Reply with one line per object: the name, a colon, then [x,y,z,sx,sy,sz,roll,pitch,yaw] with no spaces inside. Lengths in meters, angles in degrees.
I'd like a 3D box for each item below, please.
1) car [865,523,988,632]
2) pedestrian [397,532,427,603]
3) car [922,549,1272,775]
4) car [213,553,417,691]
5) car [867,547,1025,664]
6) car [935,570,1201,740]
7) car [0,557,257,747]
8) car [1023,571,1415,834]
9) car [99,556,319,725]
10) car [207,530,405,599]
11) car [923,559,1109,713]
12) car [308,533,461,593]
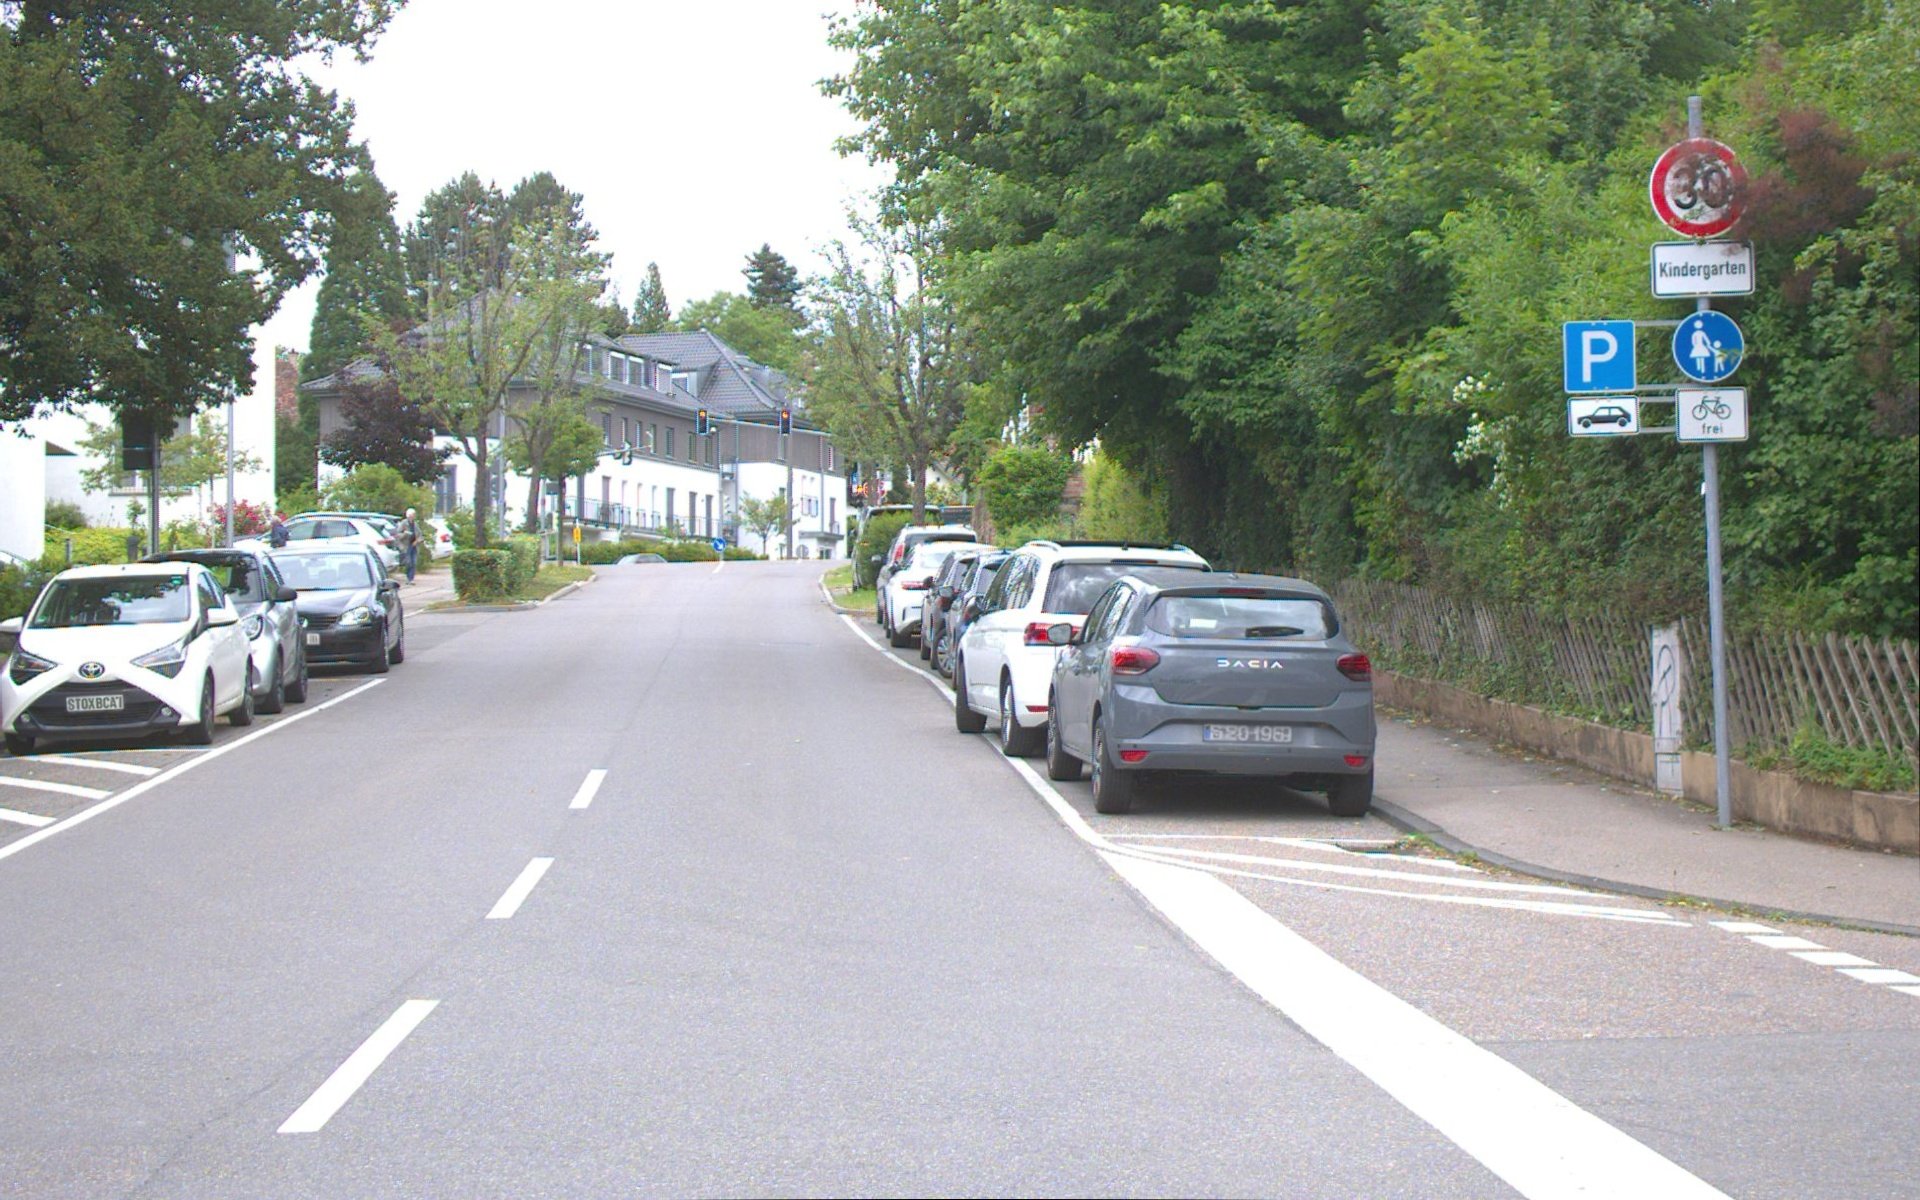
car: [-0.558,-0.378,54.370,1.716,1.627,3.929,2,1,-3]
pedestrian: [-12.815,-0.759,80.421,0.593,1.635,0.565,-1,1,-2]
car: [1.003,0.423,27.957,2.000,1.603,4.760,-1,1,-8]
car: [-7.503,0.213,40.375,1.850,1.464,4.684,-1,1,-5]
car: [-0.253,0.040,48.346,1.993,1.486,5.005,-1,1,-3]
car: [0.943,0.463,32.635,1.809,1.447,4.380,-1,1,-8]
car: [-6.907,0.380,28.323,1.744,1.443,3.514,-1,1,-4]
car: [1.614,0.600,23.040,1.937,1.486,4.457,-1,1,-4]
car: [-7.052,0.344,32.507,1.624,1.513,2.976,0,1,-4]
car: [-15.465,-0.857,81.477,4.386,1.561,2.067,-1,1,-4]
car: [0.556,0.347,37.595,1.697,1.503,4.161,2,1,-3]
car: [-16.759,-1.076,100.278,4.259,1.618,2.014,-1,0,-6]
